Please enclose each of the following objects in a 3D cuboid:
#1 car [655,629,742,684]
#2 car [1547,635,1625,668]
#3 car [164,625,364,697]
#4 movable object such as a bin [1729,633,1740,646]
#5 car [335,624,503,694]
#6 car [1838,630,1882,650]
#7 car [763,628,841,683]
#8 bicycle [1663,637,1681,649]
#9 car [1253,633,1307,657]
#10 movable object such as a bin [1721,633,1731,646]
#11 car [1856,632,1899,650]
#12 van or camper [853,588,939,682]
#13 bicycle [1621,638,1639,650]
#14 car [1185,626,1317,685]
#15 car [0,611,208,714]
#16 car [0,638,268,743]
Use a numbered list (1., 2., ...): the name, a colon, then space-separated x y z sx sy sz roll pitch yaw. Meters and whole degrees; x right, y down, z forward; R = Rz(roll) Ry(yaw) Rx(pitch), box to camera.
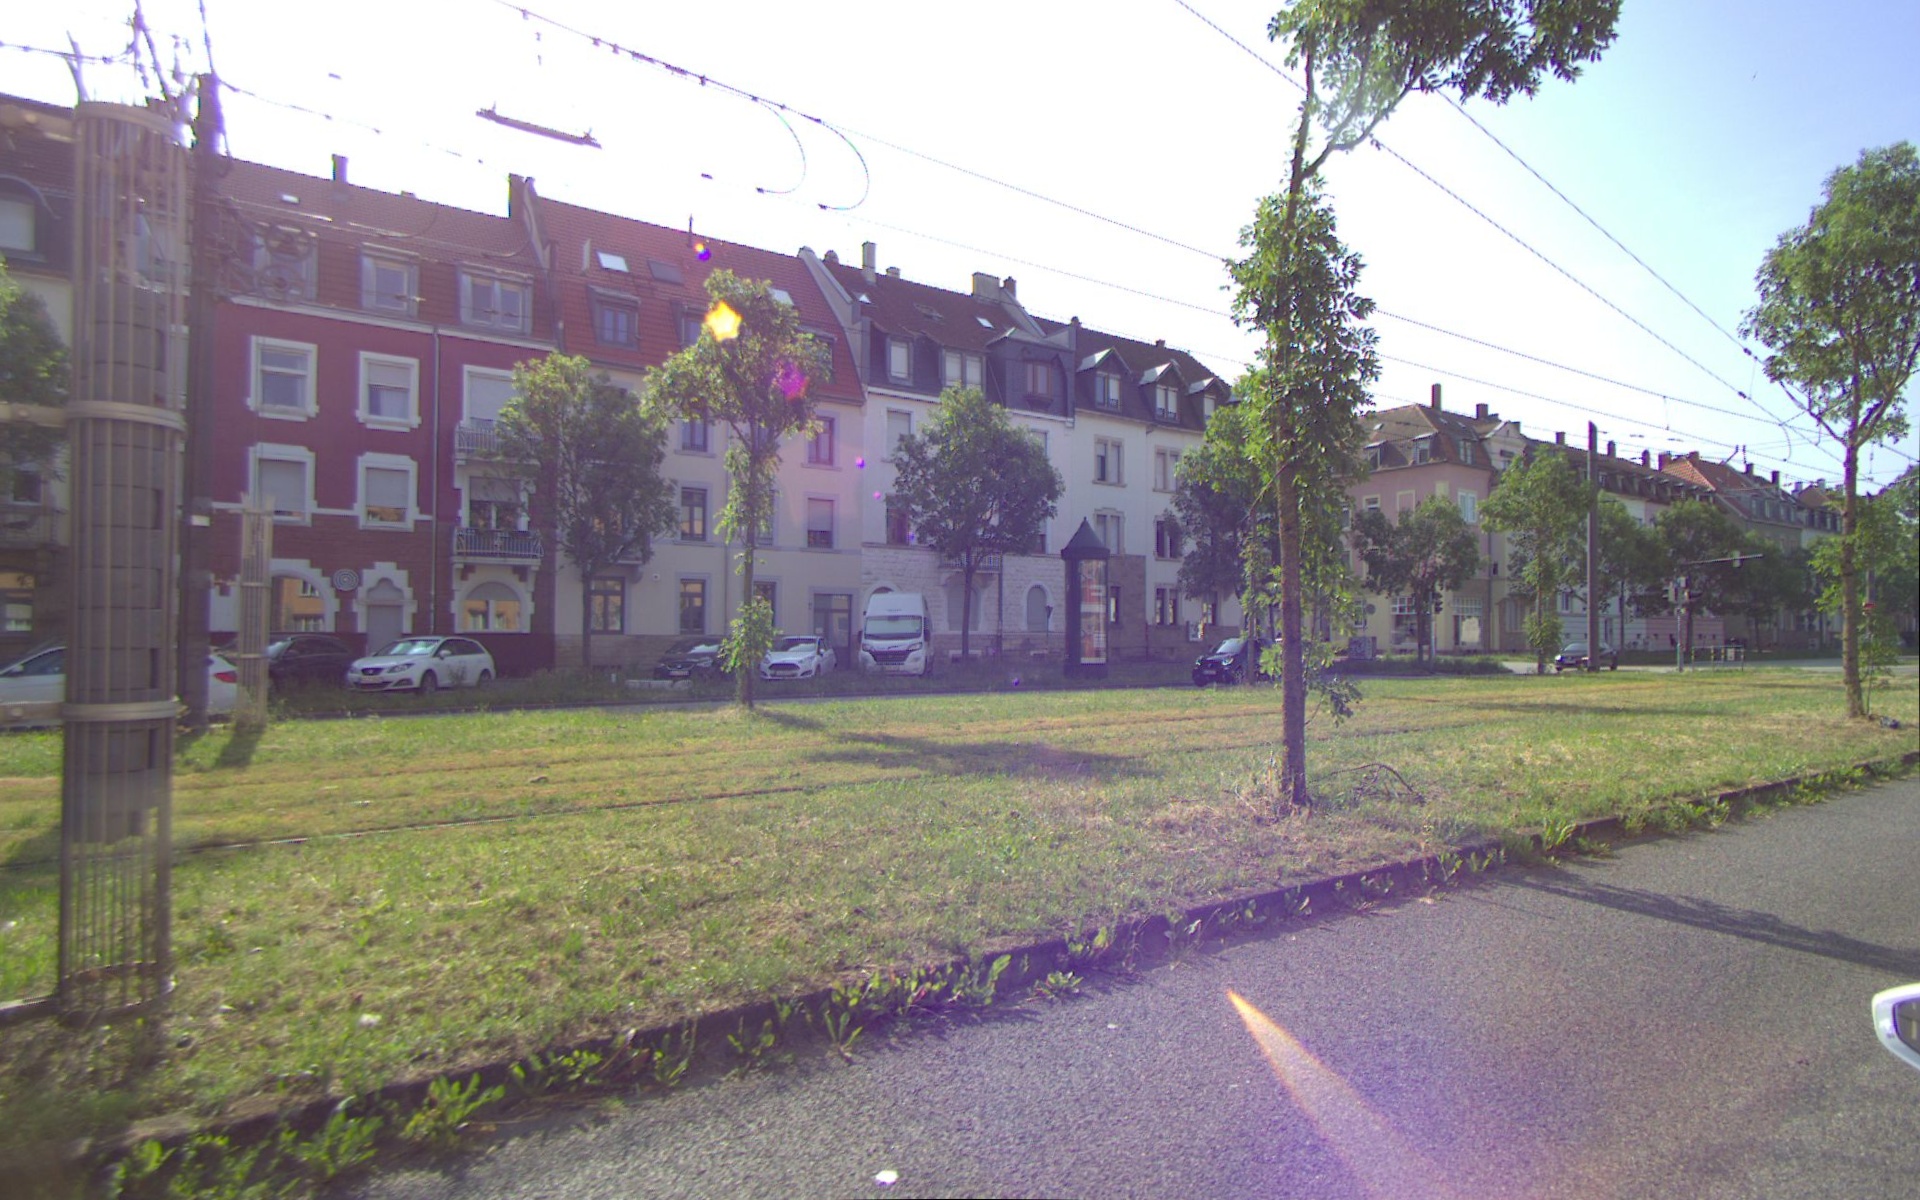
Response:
1. car: -7.200 1.523 27.944 1.630 1.258 3.685 2 0 -4
2. car: 30.354 2.495 48.680 3.886 1.452 1.800 2 0 -35
3. car: -14.735 1.238 21.520 1.629 1.258 3.687 2 0 1
4. movable object such as a bin: 72.273 3.698 93.707 0.634 1.227 0.581 2 0 -35
5. car: -12.405 1.297 23.331 1.629 1.334 4.015 2 0 1
6. car: 81.082 3.611 90.487 4.728 1.650 1.980 2 0 -36
7. car: -4.584 1.586 29.634 1.629 1.349 3.687 2 0 1
8. bicycle: 52.637 3.192 74.268 1.928 0.868 0.444 2 0 -36
9. car: 22.669 3.195 71.292 1.554 1.481 3.374 2 0 -35
10. movable object such as a bin: 71.855 3.684 94.255 0.634 1.227 0.581 2 0 -35
11. car: 85.715 3.824 93.798 4.109 1.650 1.880 2 0 -31
12. van or camper: -1.902 1.008 31.797 2.156 2.608 5.927 2 0 1
13. bicycle: 47.123 3.087 70.644 1.928 0.799 0.434 2 0 -36
14. car: 9.161 1.735 31.559 3.956 1.677 1.755 2 0 -32
15. car: -17.726 1.166 20.467 1.800 1.766 4.641 2 0 -9
16. car: -14.076 1.410 16.276 4.598 1.479 1.936 2 0 -33
